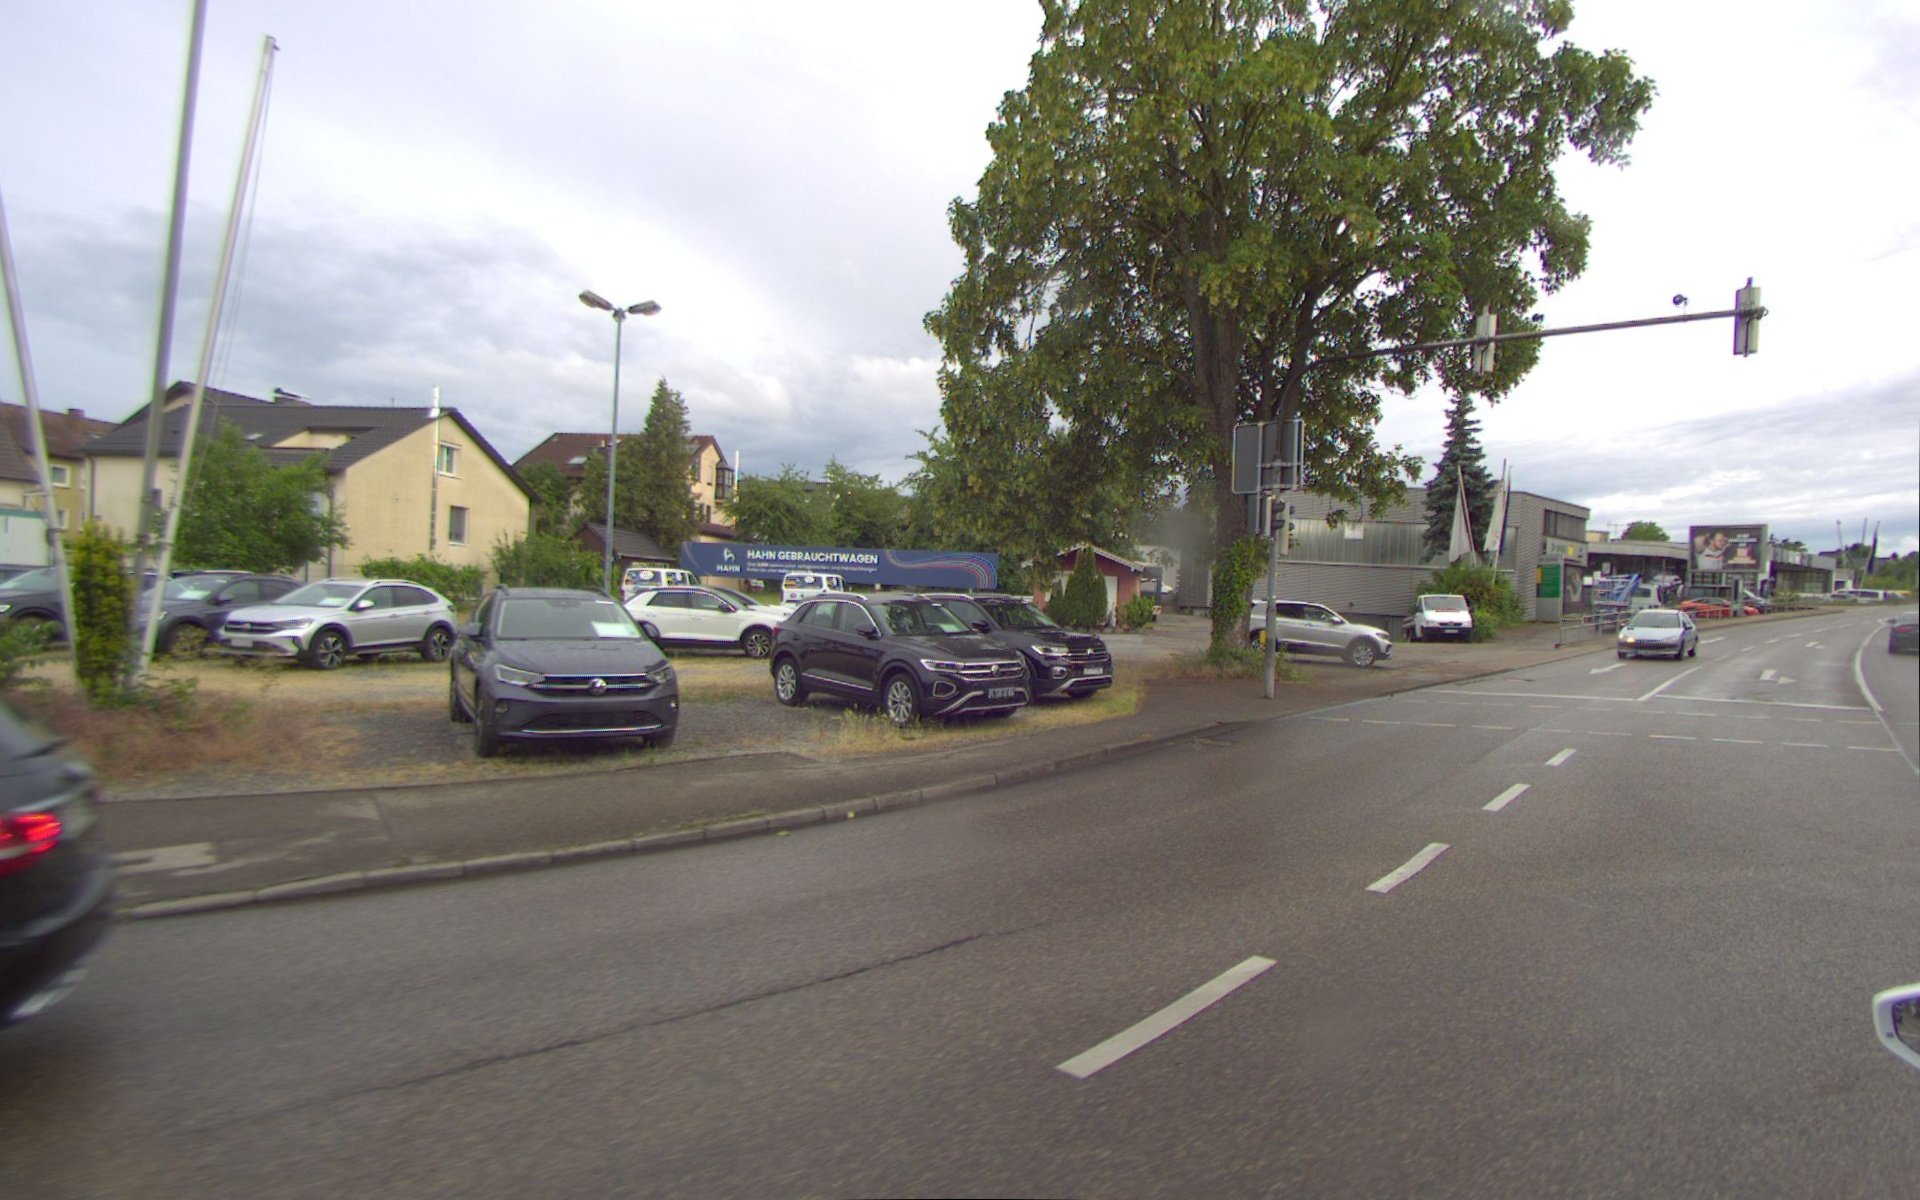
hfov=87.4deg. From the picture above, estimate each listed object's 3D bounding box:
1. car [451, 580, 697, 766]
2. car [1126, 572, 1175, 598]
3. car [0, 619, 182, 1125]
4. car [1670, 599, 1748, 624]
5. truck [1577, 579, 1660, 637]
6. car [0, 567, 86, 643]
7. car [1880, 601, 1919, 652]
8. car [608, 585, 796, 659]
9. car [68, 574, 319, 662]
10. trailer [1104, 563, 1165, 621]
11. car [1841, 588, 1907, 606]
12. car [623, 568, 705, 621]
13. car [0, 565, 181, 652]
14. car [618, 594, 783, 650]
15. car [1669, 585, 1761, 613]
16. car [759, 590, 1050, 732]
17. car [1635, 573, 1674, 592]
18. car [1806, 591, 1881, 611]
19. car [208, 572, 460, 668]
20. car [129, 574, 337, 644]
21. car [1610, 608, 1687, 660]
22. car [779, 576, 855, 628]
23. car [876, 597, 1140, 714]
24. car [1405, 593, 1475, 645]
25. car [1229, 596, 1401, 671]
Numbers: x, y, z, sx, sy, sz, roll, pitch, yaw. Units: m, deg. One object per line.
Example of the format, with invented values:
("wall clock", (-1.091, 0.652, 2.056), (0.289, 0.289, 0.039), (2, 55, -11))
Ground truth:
("car", (-4.115, 0.602, 10.319), (1.737, 1.510, 3.949), (-1, 0, -30))
("car", (18.538, -1.420, 97.588), (4.566, 2.336, 2.241), (2, 1, 13))
("car", (-4.677, 0.756, 2.428), (4.307, 1.410, 1.695), (1, -3, -36))
("car", (48.246, 0.720, 64.788), (3.933, 1.394, 1.809), (2, 1, 35))
("truck", (31.560, 0.343, 48.052), (5.517, 2.573, 1.975), (0, 2, -42))
("car", (-19.099, 0.076, 19.004), (1.560, 1.447, 3.646), (1, 1, 13))
("car", (31.950, 0.861, 33.212), (3.972, 1.595, 1.974), (0, 2, -44))
("car", (-5.789, 0.470, 22.935), (3.924, 1.576, 1.711), (1, 1, -6))
("car", (-13.544, 0.264, 18.039), (1.487, 1.393, 3.646), (1, 1, 5))
("trailer", (9.105, -0.429, 52.773), (2.566, 2.800, 5.028), (2, 1, 4))
("car", (93.927, -0.322, 103.295), (4.677, 1.645, 1.815), (2, 1, 17))
("car", (-11.757, -0.236, 40.172), (1.688, 2.000, 4.195), (1, 1, 6))
("car", (-16.493, 0.100, 18.304), (1.560, 1.447, 3.646), (1, 1, 5))
("car", (-6.670, 0.553, 26.190), (3.924, 1.331, 1.711), (1, 1, -6))
("car", (50.352, -0.086, 67.020), (4.705, 1.645, 1.804), (3, 1, 43))
("car", (-0.854, 0.687, 13.184), (1.744, 1.576, 3.950), (-1, 0, -42))
("car", (62.790, -1.599, 90.841), (3.959, 1.535, 1.581), (2, 1, -35))
("car", (79.284, 0.069, 90.175), (4.677, 1.645, 1.815), (2, 1, 17))
("car", (-10.865, 0.388, 17.784), (1.558, 1.483, 3.776), (1, -2, 12))
("car", (-17.810, 0.174, 24.855), (1.718, 1.573, 4.001), (1, 1, 14))
("car", (21.264, 1.001, 30.977), (1.568, 1.423, 3.689), (2, 1, 41))
("car", (-5.588, 0.046, 39.772), (1.960, 1.896, 4.453), (1, 1, 5))
("car", (0.662, 0.750, 15.770), (3.943, 1.530, 1.747), (2, 1, 43))
("car", (20.417, 0.758, 42.853), (1.960, 2.021, 4.001), (1, 1, 15))
("car", (9.238, 0.838, 26.445), (3.919, 1.542, 1.761), (5, 2, 10))
